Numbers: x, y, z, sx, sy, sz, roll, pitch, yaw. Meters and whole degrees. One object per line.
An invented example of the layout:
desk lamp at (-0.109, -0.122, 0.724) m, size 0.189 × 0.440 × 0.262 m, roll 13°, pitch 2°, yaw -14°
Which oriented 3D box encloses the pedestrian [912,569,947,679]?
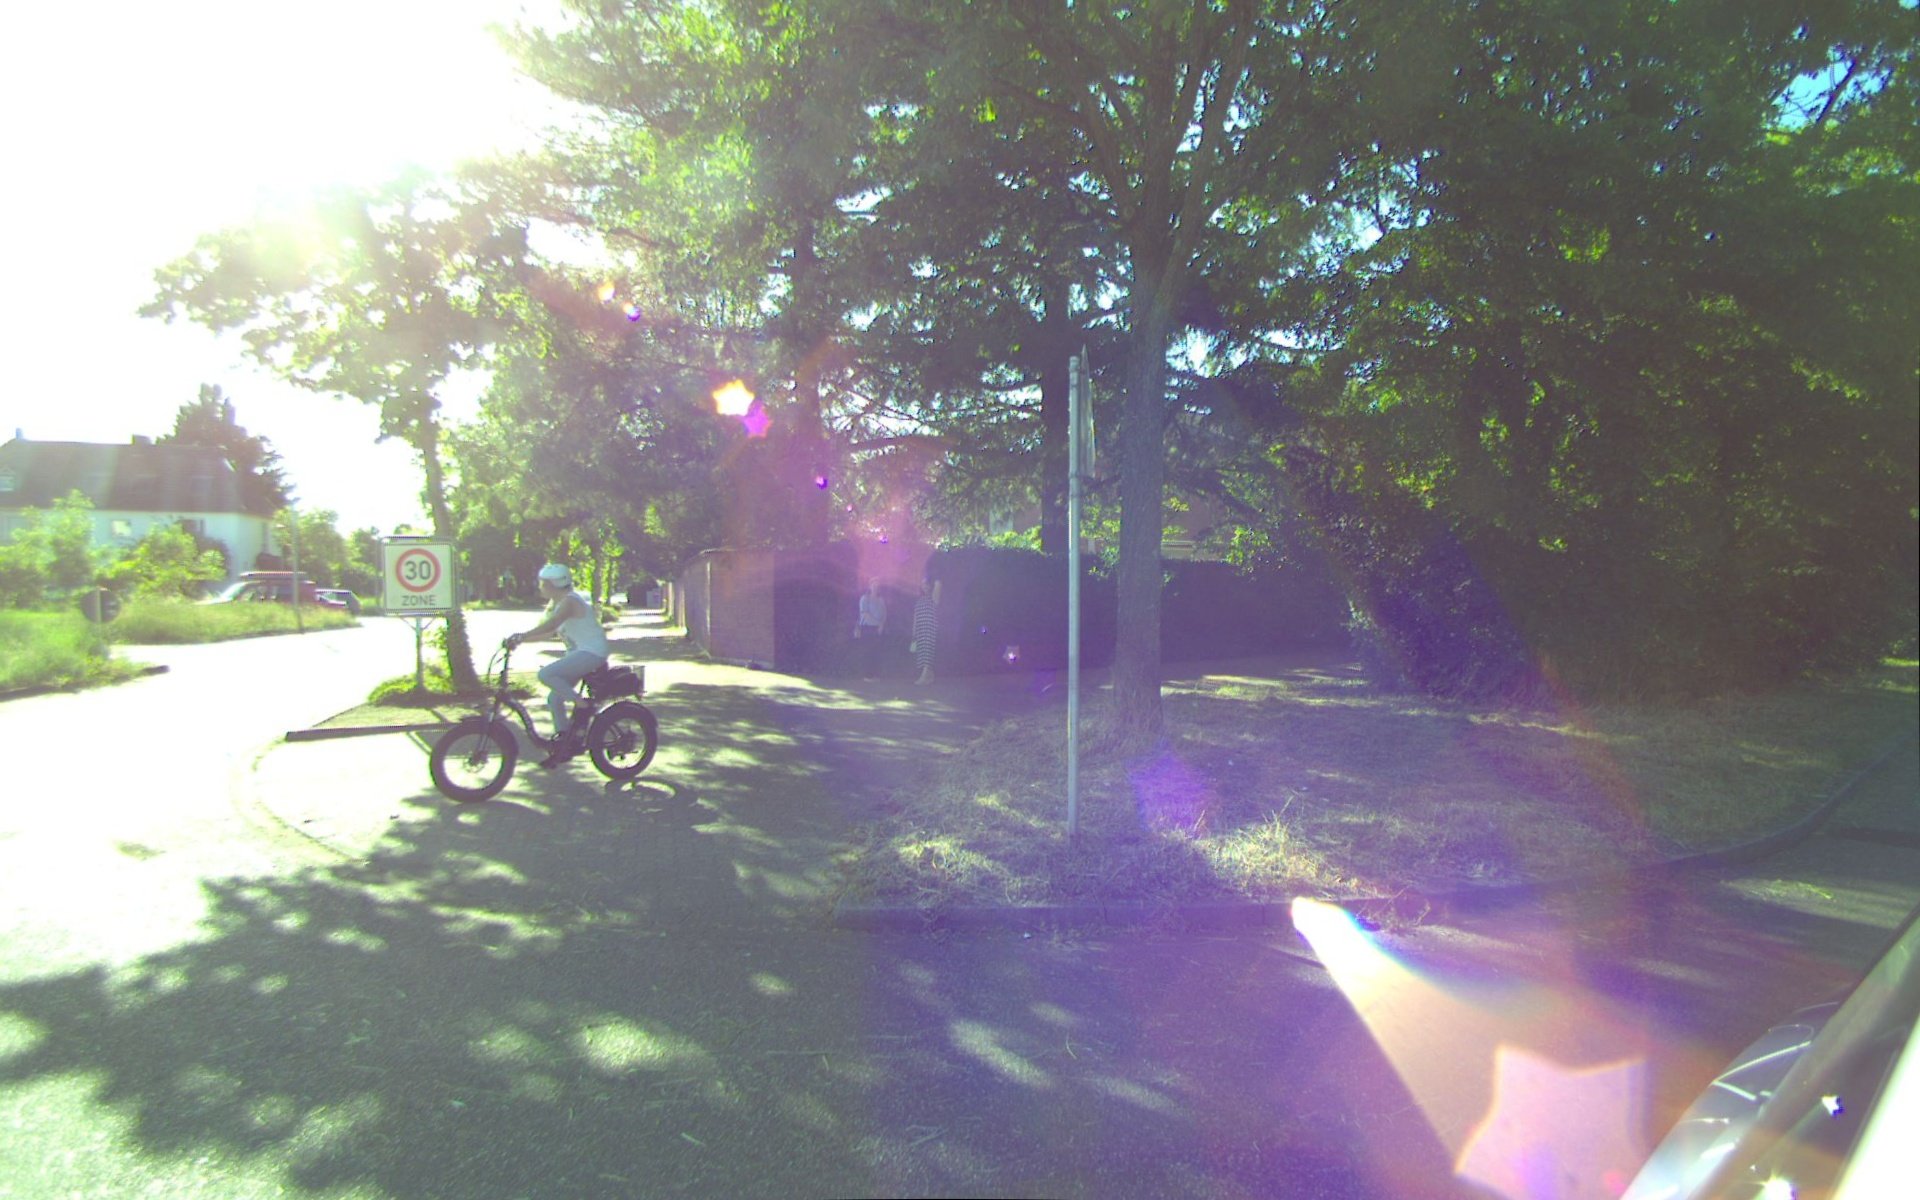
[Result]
pedestrian at (-0.449, 0.334, 14.843) m, size 0.388 × 1.580 × 0.540 m, roll 0°, pitch 1°, yaw -14°

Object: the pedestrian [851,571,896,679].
pedestrian at (-1.270, 0.351, 14.852) m, size 0.529 × 1.539 × 0.395 m, roll -1°, pitch 1°, yaw -41°

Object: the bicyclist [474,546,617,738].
bicyclist at (-3.140, 0.286, 7.682) m, size 0.825 × 1.364 × 0.637 m, roll -1°, pitch 1°, yaw -45°

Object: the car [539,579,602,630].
car at (-13.847, 0.115, 35.877) m, size 1.958 × 1.679 × 4.008 m, roll 0°, pitch 1°, yaw -22°

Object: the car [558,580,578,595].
car at (-49.928, -1.654, 128.946) m, size 1.958 × 1.838 × 4.009 m, roll 0°, pitch 1°, yaw -16°

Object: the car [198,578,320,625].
car at (-27.378, 0.026, 39.613) m, size 1.739 × 1.738 × 3.602 m, roll 1°, pitch 1°, yaw 37°

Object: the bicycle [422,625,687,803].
bicycle at (-3.042, 0.800, 7.759) m, size 0.457 × 1.159 × 1.867 m, roll 1°, pitch 1°, yaw 44°
